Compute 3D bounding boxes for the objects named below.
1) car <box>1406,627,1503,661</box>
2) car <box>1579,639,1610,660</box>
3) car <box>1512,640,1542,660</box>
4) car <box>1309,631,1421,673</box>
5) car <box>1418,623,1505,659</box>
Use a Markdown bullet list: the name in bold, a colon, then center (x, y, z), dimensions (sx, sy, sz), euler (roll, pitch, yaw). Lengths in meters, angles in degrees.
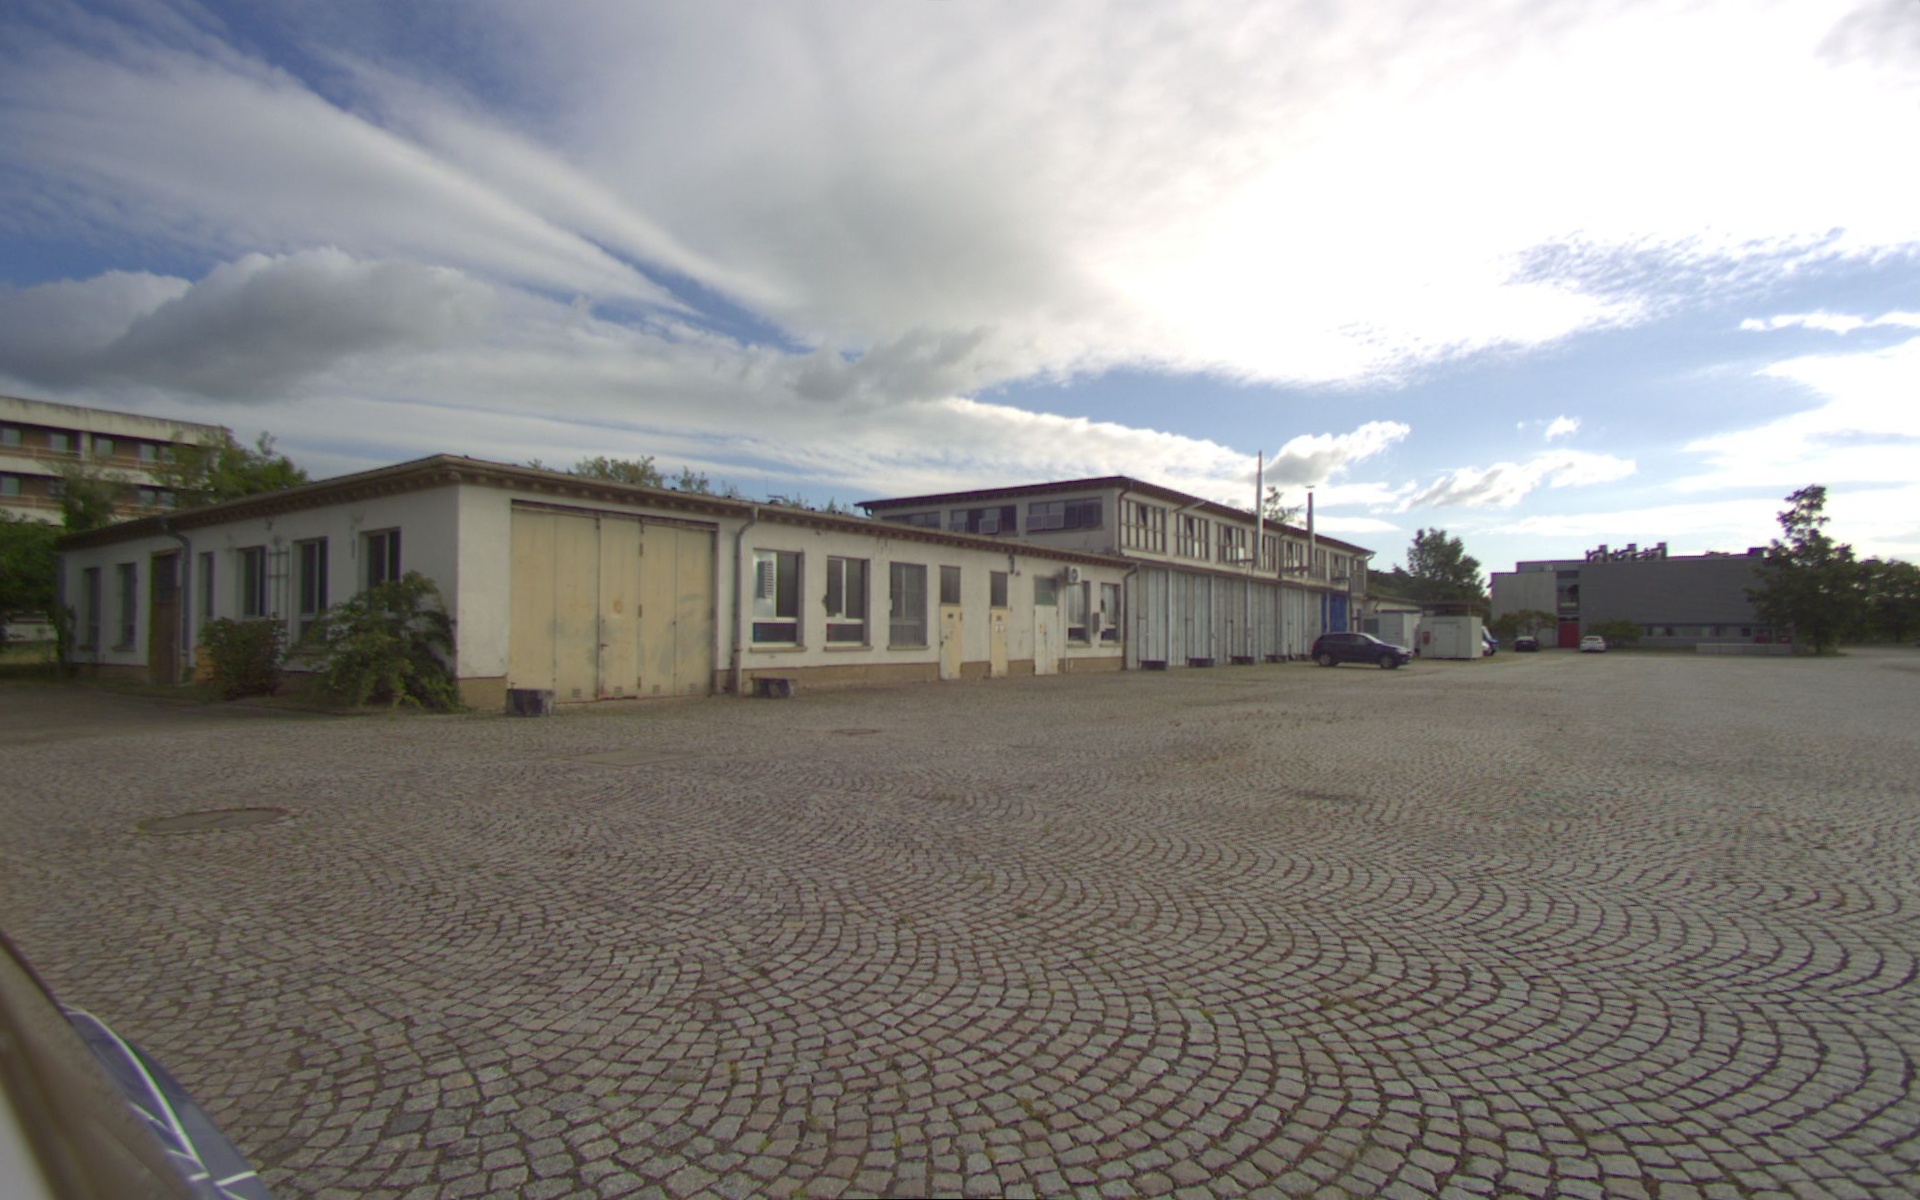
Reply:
- **car**: center (33.673, 3.002, 68.963), dimensions (5.617, 2.236, 2.423), euler (-2, -3, 35)
- **car**: center (57.151, 4.421, 91.166), dimensions (2.149, 1.824, 3.953), euler (-2, -3, 34)
- **car**: center (52.611, 4.653, 93.870), dimensions (1.995, 1.824, 3.953), euler (-2, -3, 34)
- **car**: center (18.433, 2.373, 46.144), dimensions (4.426, 1.770, 1.976), euler (-2, -6, 35)
- **car**: center (37.860, 3.129, 76.440), dimensions (5.617, 2.635, 2.423), euler (-2, -3, 35)
